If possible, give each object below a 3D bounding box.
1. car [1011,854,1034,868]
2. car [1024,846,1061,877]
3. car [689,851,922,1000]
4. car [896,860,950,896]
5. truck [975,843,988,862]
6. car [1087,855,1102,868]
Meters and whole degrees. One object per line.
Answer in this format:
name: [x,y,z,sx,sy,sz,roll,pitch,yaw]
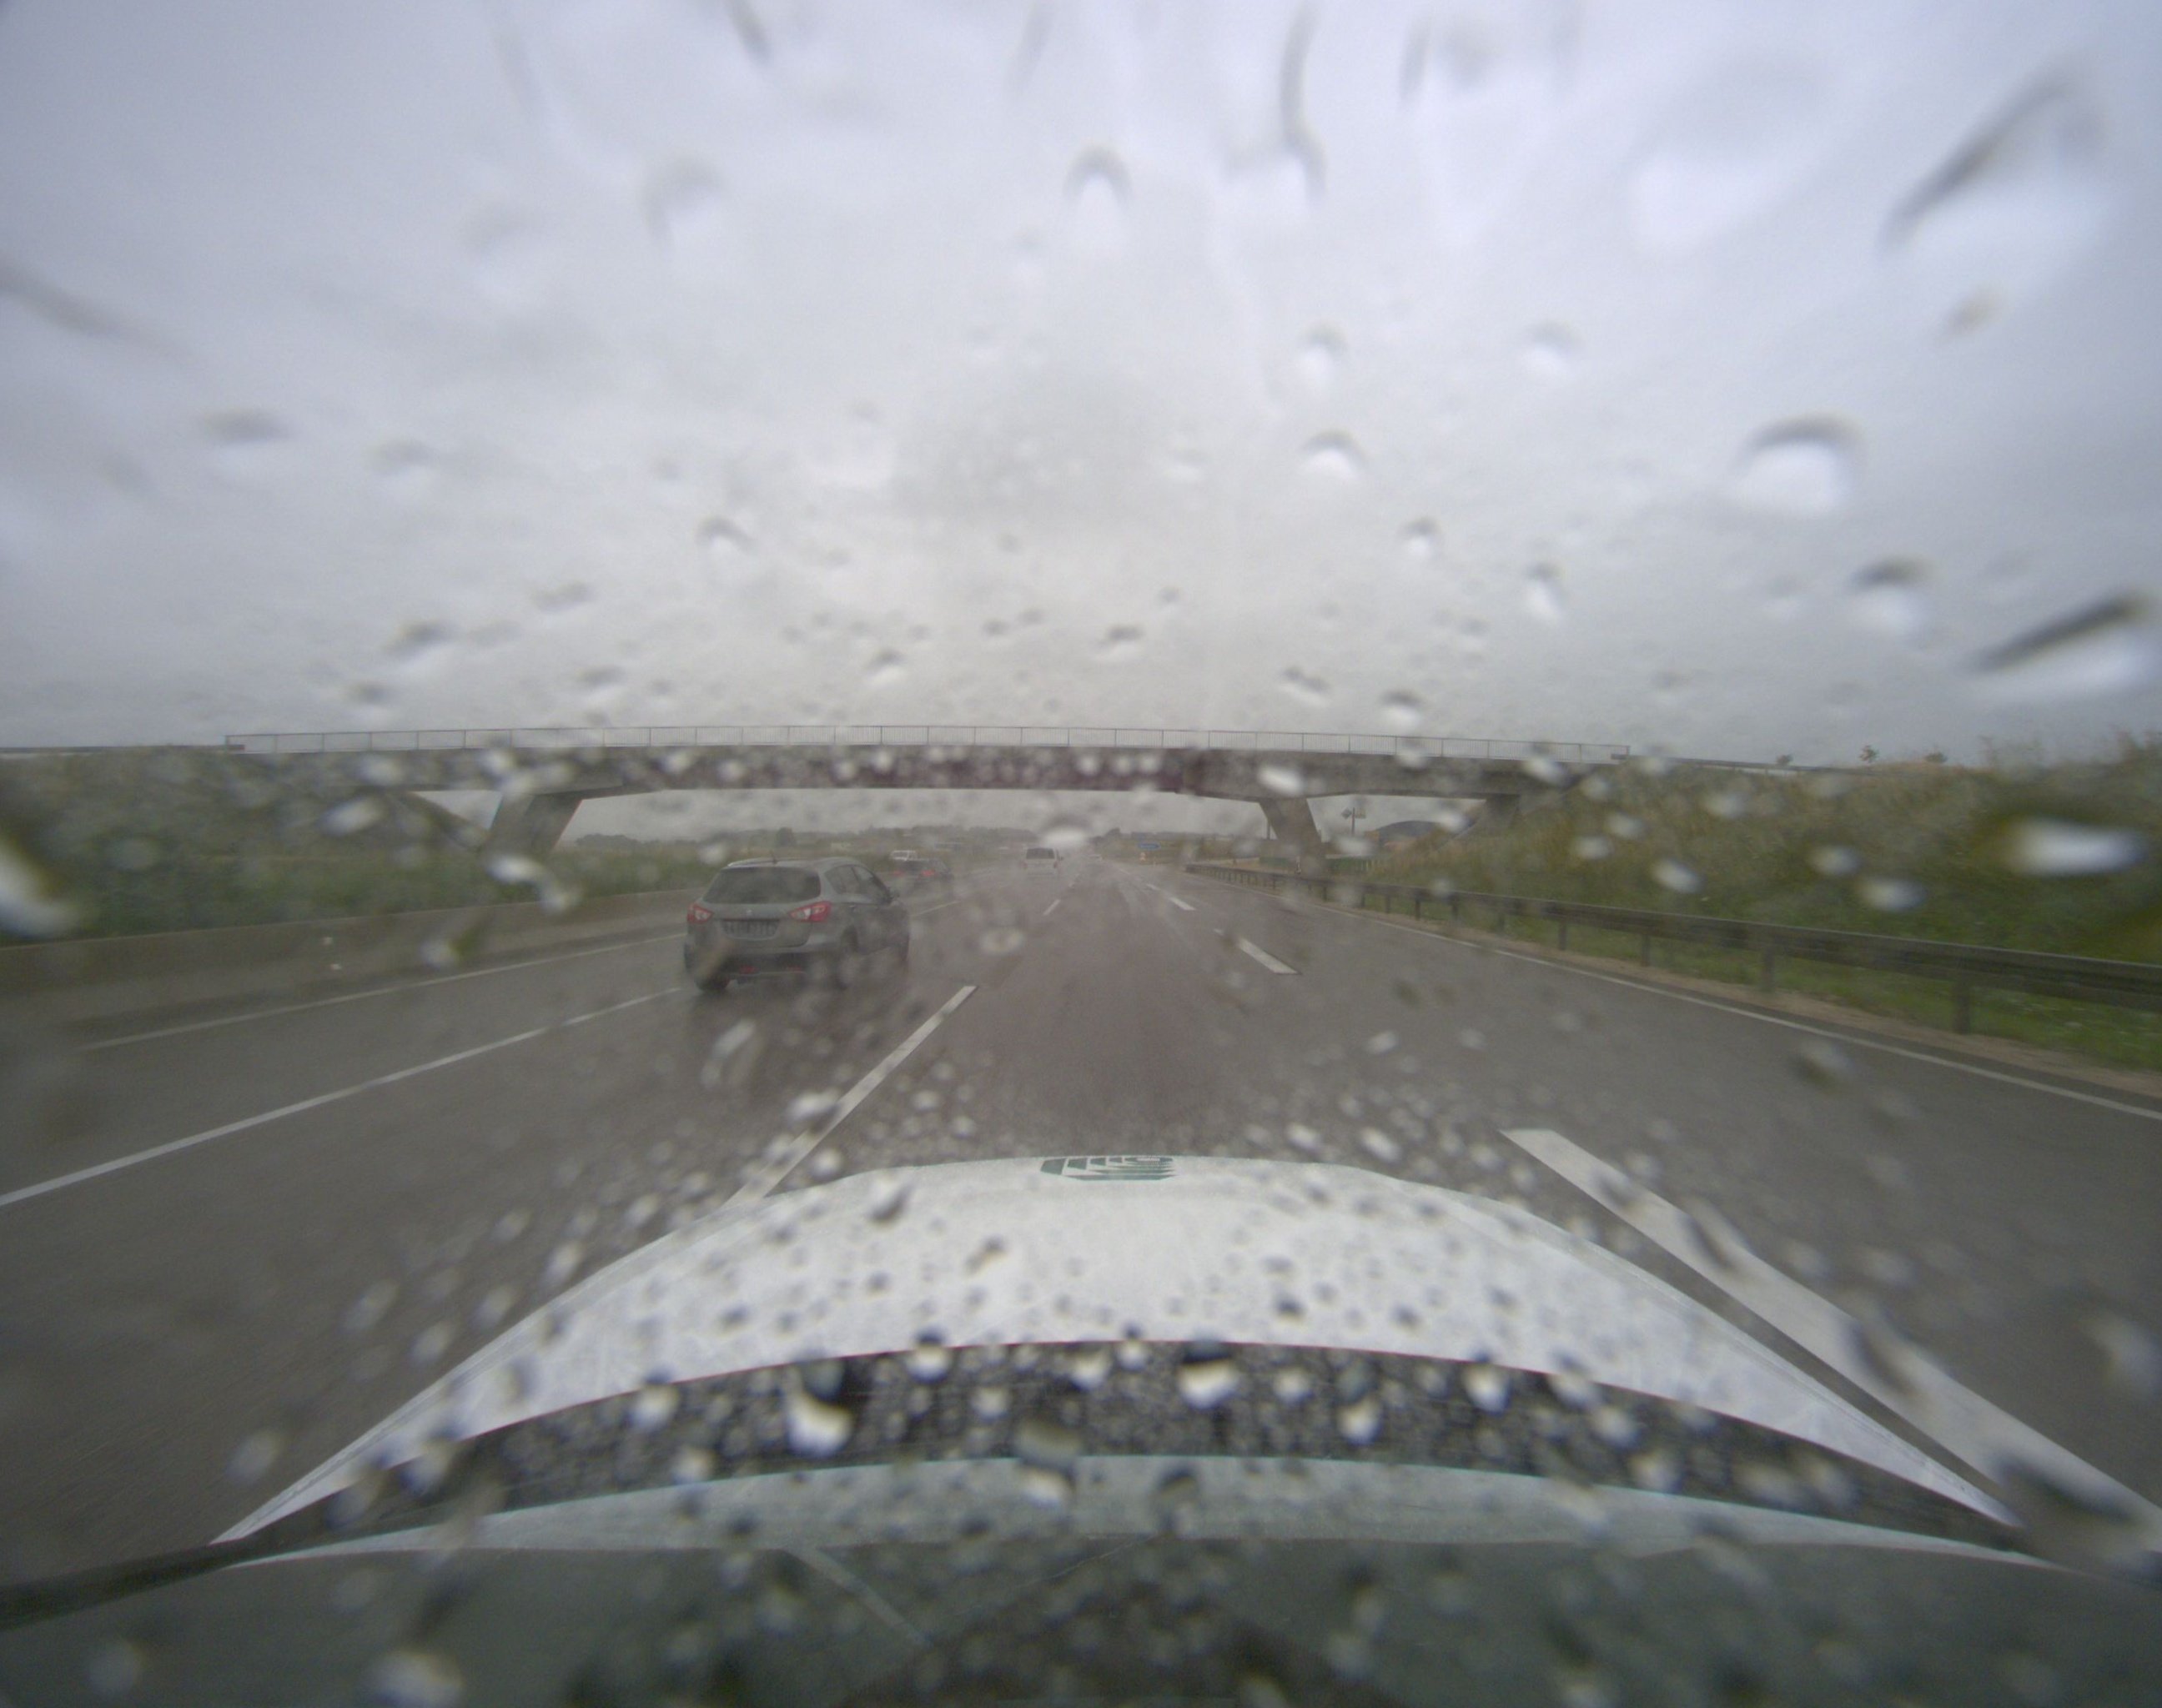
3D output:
car: [-5.565,0.677,78.059,1.459,1.257,3.347,0,0,8]
car: [-2.066,0.416,44.337,1.892,1.585,3.998,0,0,-1]
car: [-3.313,0.739,10.832,1.843,1.513,4.748,-1,0,-5]
car: [-6.335,0.925,32.980,1.609,1.354,3.995,0,0,-3]
truck: [-21.107,-0.263,172.966,2.206,3.983,5.184,-1,0,0]
car: [1.412,0.747,83.260,1.462,1.208,2.994,-1,0,3]
